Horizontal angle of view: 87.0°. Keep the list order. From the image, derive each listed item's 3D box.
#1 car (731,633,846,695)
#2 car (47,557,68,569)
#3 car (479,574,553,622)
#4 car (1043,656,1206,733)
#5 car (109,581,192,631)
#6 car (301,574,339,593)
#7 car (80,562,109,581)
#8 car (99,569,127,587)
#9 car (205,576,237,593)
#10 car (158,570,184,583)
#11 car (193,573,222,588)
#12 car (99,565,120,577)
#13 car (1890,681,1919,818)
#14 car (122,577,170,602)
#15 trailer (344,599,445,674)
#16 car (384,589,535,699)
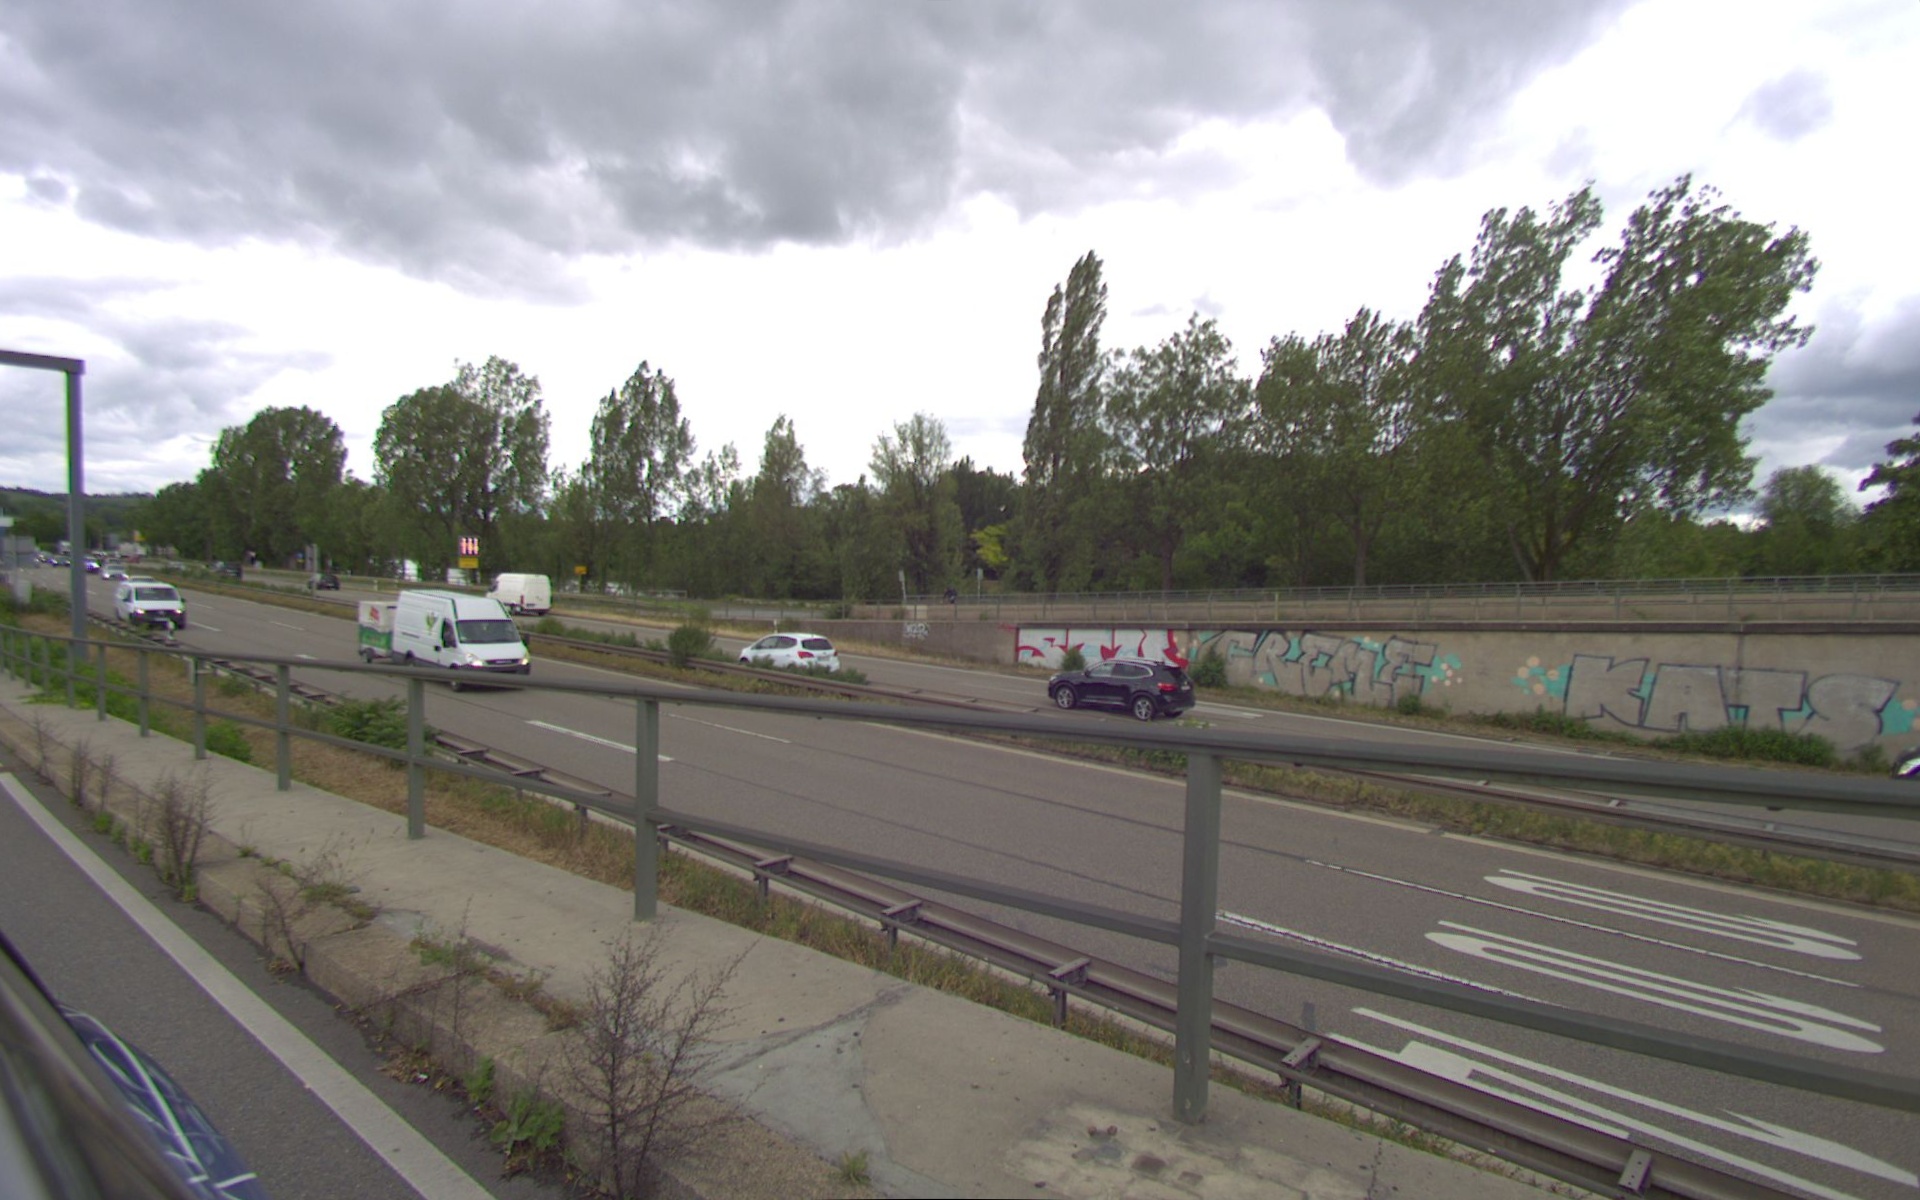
[{"bbox_3d":[-5.870,2.137,34.509,3.930,1.662,1.739,4,3,41],"label":"car"},{"bbox_3d":[-130.418,-5.353,146.252,4.278,1.726,1.821,4,3,41],"label":"car"},{"bbox_3d":[-28.276,-0.155,64.404,5.359,2.800,2.187,4,2,41],"label":"car"},{"bbox_3d":[4.777,2.695,29.716,4.332,1.662,1.879,4,1,41],"label":"car"},{"bbox_3d":[-35.680,0.228,44.575,5.197,1.890,1.973,4,3,41],"label":"car"},{"bbox_3d":[-57.543,-1.503,90.964,3.930,1.662,1.879,2,1,41],"label":"car"},{"bbox_3d":[-95.759,-3.194,111.929,4.898,1.949,1.928,4,3,44],"label":"car"},{"bbox_3d":[-80.695,-2.095,96.397,3.681,1.564,1.540,3,3,41],"label":"car"},{"bbox_3d":[-76.537,-1.645,104.763,3.930,1.662,1.879,2,2,41],"label":"car"},{"bbox_3d":[-100.030,-2.978,128.256,3.930,1.662,1.879,2,2,41],"label":"car"},{"bbox_3d":[-86.448,-2.204,116.254,3.930,1.662,1.879,2,2,41],"label":"car"},{"bbox_3d":[-129.195,-4.393,153.758,3.930,1.662,1.879,2,2,41],"label":"car"},{"bbox_3d":[21.861,3.161,19.116,6.111,2.566,2.221,3,2,40],"label":"car"},{"bbox_3d":[-52.659,-0.713,65.459,4.164,1.462,1.724,3,2,41],"label":"car"},{"bbox_3d":[-18.753,1.135,33.507,3.935,2.145,1.711,3,3,41],"label":"trailer"},{"bbox_3d":[-15.069,1.168,30.284,5.931,2.704,1.973,4,4,41],"label":"car"}]
